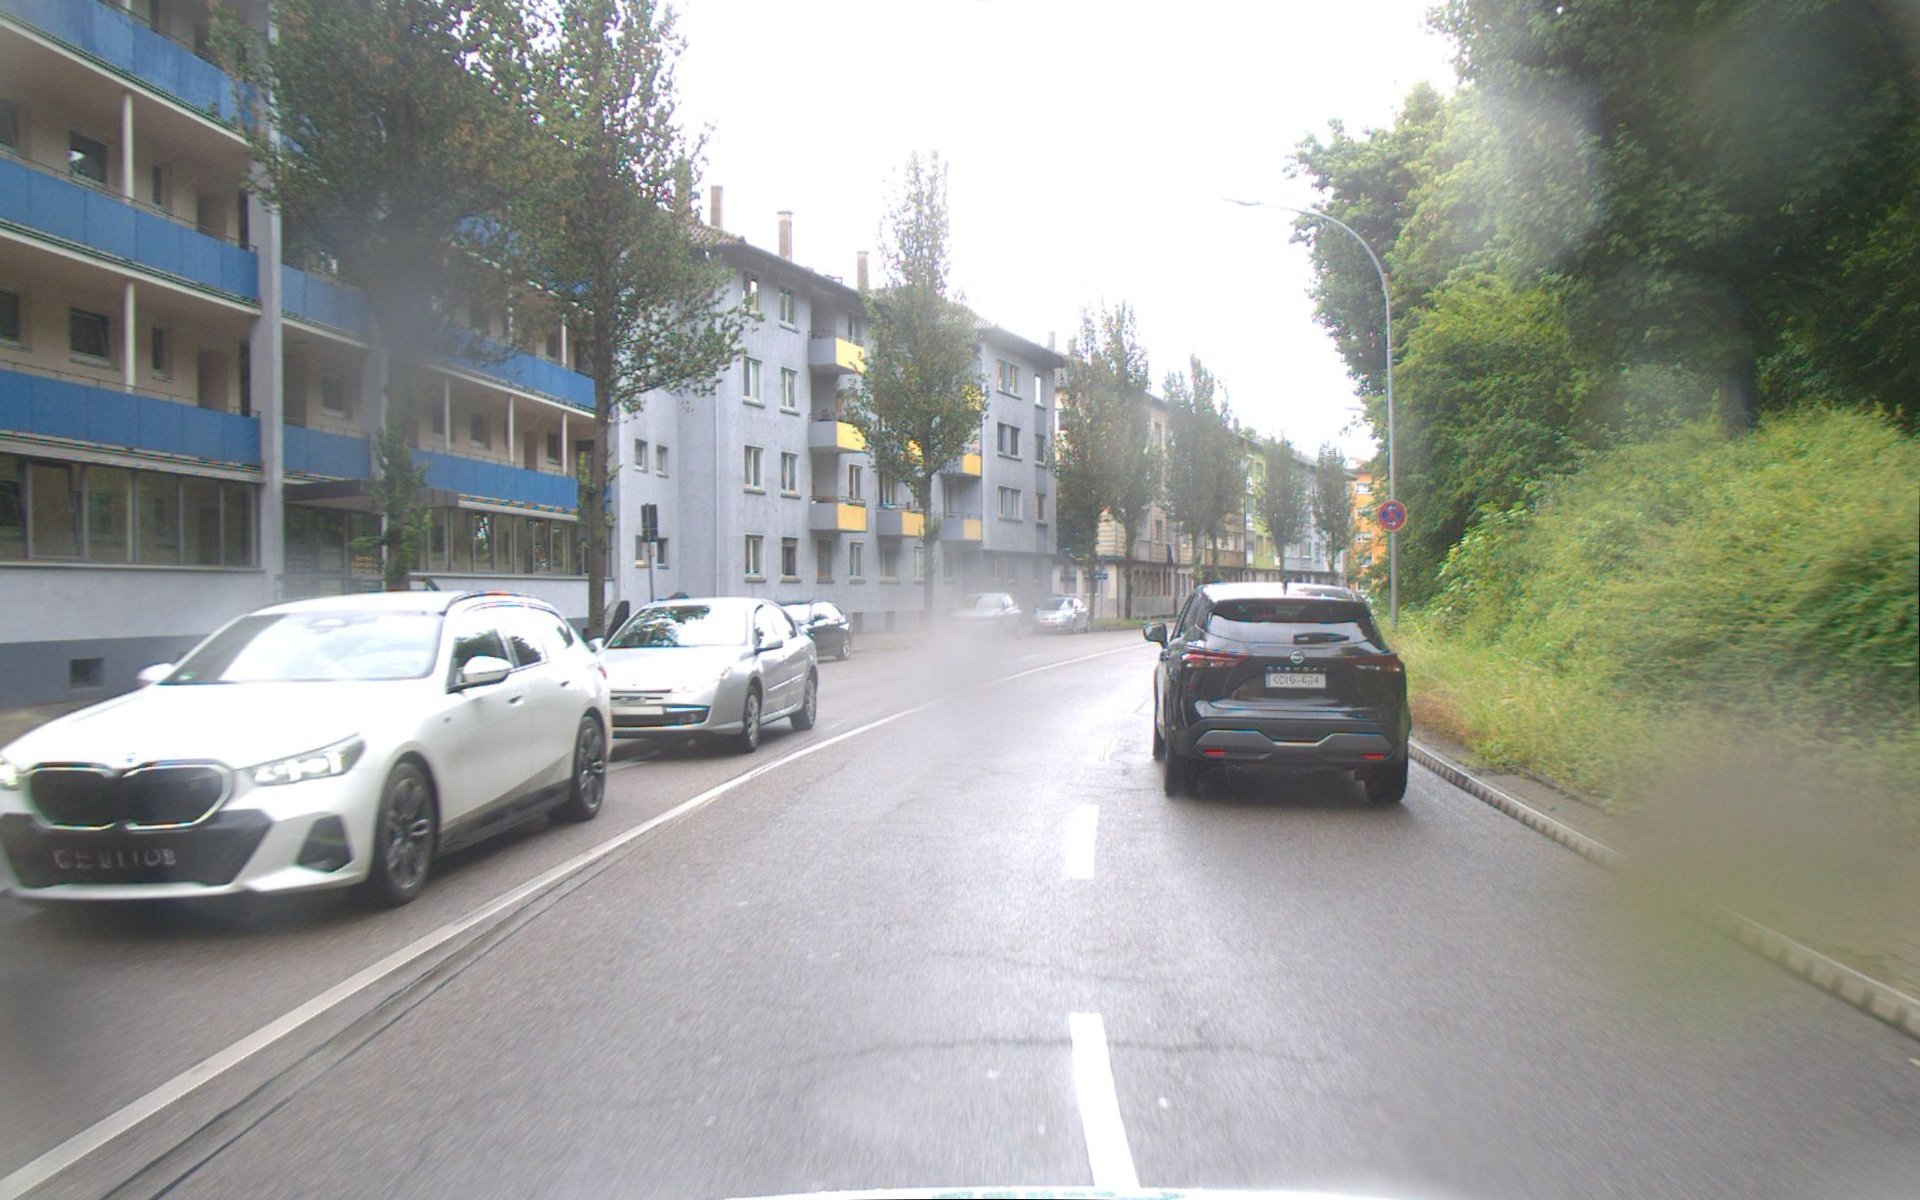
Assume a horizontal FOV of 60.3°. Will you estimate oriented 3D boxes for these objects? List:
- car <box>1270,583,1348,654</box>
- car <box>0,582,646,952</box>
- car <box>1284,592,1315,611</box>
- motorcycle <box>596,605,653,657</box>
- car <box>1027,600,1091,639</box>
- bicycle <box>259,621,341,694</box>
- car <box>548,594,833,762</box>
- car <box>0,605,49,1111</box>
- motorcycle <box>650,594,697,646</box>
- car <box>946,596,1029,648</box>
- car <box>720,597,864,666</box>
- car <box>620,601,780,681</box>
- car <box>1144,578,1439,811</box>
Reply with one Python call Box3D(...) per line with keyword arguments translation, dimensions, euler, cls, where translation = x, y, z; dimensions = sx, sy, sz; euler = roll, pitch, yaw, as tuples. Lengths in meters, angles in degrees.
Box3D(translation=(8.949, 0.442, 42.634), dimensions=(1.846, 1.741, 4.003), euler=(0, 0, 10), cls="car")
Box3D(translation=(-3.391, 0.717, 9.620), dimensions=(1.782, 1.543, 5.031), euler=(-2, 0, 4), cls="car")
Box3D(translation=(26.805, 0.133, 130.445), dimensions=(1.779, 1.396, 4.682), euler=(-3, 0, 19), cls="car")
Box3D(translation=(-8.748, 0.789, 43.206), dimensions=(0.660, 1.276, 2.238), euler=(1, 0, 10), cls="motorcycle")
Box3D(translation=(4.060, 0.778, 67.026), dimensions=(1.687, 1.478, 4.208), euler=(-2, 0, 16), cls="car")
Box3D(translation=(-10.095, 0.857, 25.352), dimensions=(0.600, 1.041, 1.733), euler=(-1, 0, -2), cls="bicycle")
Box3D(translation=(-2.556, 0.684, 16.846), dimensions=(1.715, 1.450, 4.540), euler=(-1, 0, 6), cls="car")
Box3D(translation=(-3.676, 0.783, 3.162), dimensions=(1.645, 1.472, 3.821), euler=(-2, 0, 1), cls="car")
Box3D(translation=(-8.241, 0.550, 47.622), dimensions=(0.661, 1.438, 2.238), euler=(2, 0, 7), cls="motorcycle")
Box3D(translation=(0.990, 0.728, 56.499), dimensions=(1.726, 1.632, 4.537), euler=(-2, 0, 15), cls="car")
Box3D(translation=(-3.879, 0.708, 39.125), dimensions=(1.782, 1.465, 4.896), euler=(-3, -1, 14), cls="car")
Box3D(translation=(-5.210, 0.788, 33.682), dimensions=(1.742, 1.427, 4.092), euler=(-3, 0, 14), cls="car")
Box3D(translation=(2.538, 0.635, 13.564), dimensions=(1.806, 1.610, 4.002), euler=(0, 1, 3), cls="car")
